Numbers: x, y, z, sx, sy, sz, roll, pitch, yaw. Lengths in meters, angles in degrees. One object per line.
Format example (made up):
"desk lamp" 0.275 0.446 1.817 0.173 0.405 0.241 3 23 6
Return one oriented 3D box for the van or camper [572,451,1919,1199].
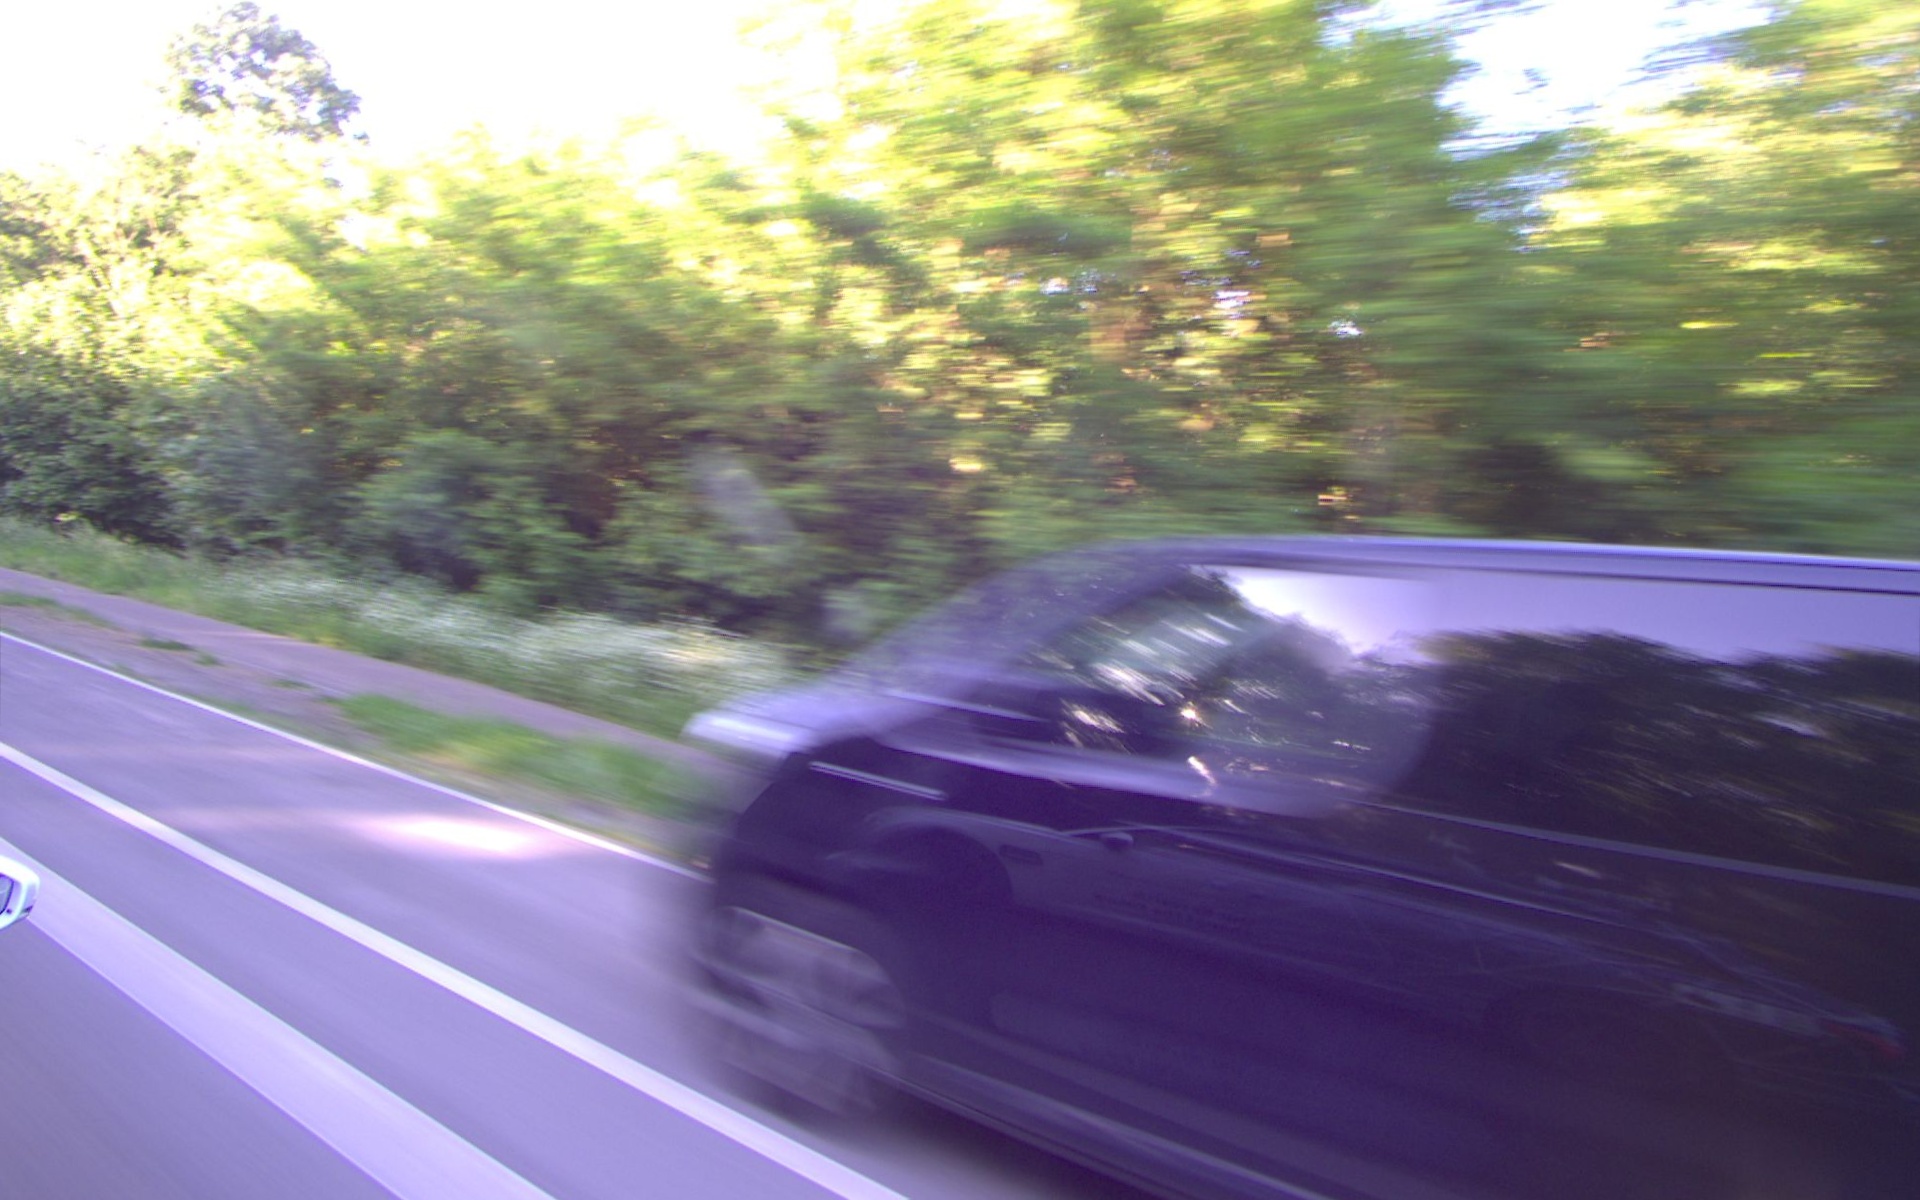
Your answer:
"van or camper" 1.492 0.827 2.883 5.113 1.954 1.998 7 -2 32
